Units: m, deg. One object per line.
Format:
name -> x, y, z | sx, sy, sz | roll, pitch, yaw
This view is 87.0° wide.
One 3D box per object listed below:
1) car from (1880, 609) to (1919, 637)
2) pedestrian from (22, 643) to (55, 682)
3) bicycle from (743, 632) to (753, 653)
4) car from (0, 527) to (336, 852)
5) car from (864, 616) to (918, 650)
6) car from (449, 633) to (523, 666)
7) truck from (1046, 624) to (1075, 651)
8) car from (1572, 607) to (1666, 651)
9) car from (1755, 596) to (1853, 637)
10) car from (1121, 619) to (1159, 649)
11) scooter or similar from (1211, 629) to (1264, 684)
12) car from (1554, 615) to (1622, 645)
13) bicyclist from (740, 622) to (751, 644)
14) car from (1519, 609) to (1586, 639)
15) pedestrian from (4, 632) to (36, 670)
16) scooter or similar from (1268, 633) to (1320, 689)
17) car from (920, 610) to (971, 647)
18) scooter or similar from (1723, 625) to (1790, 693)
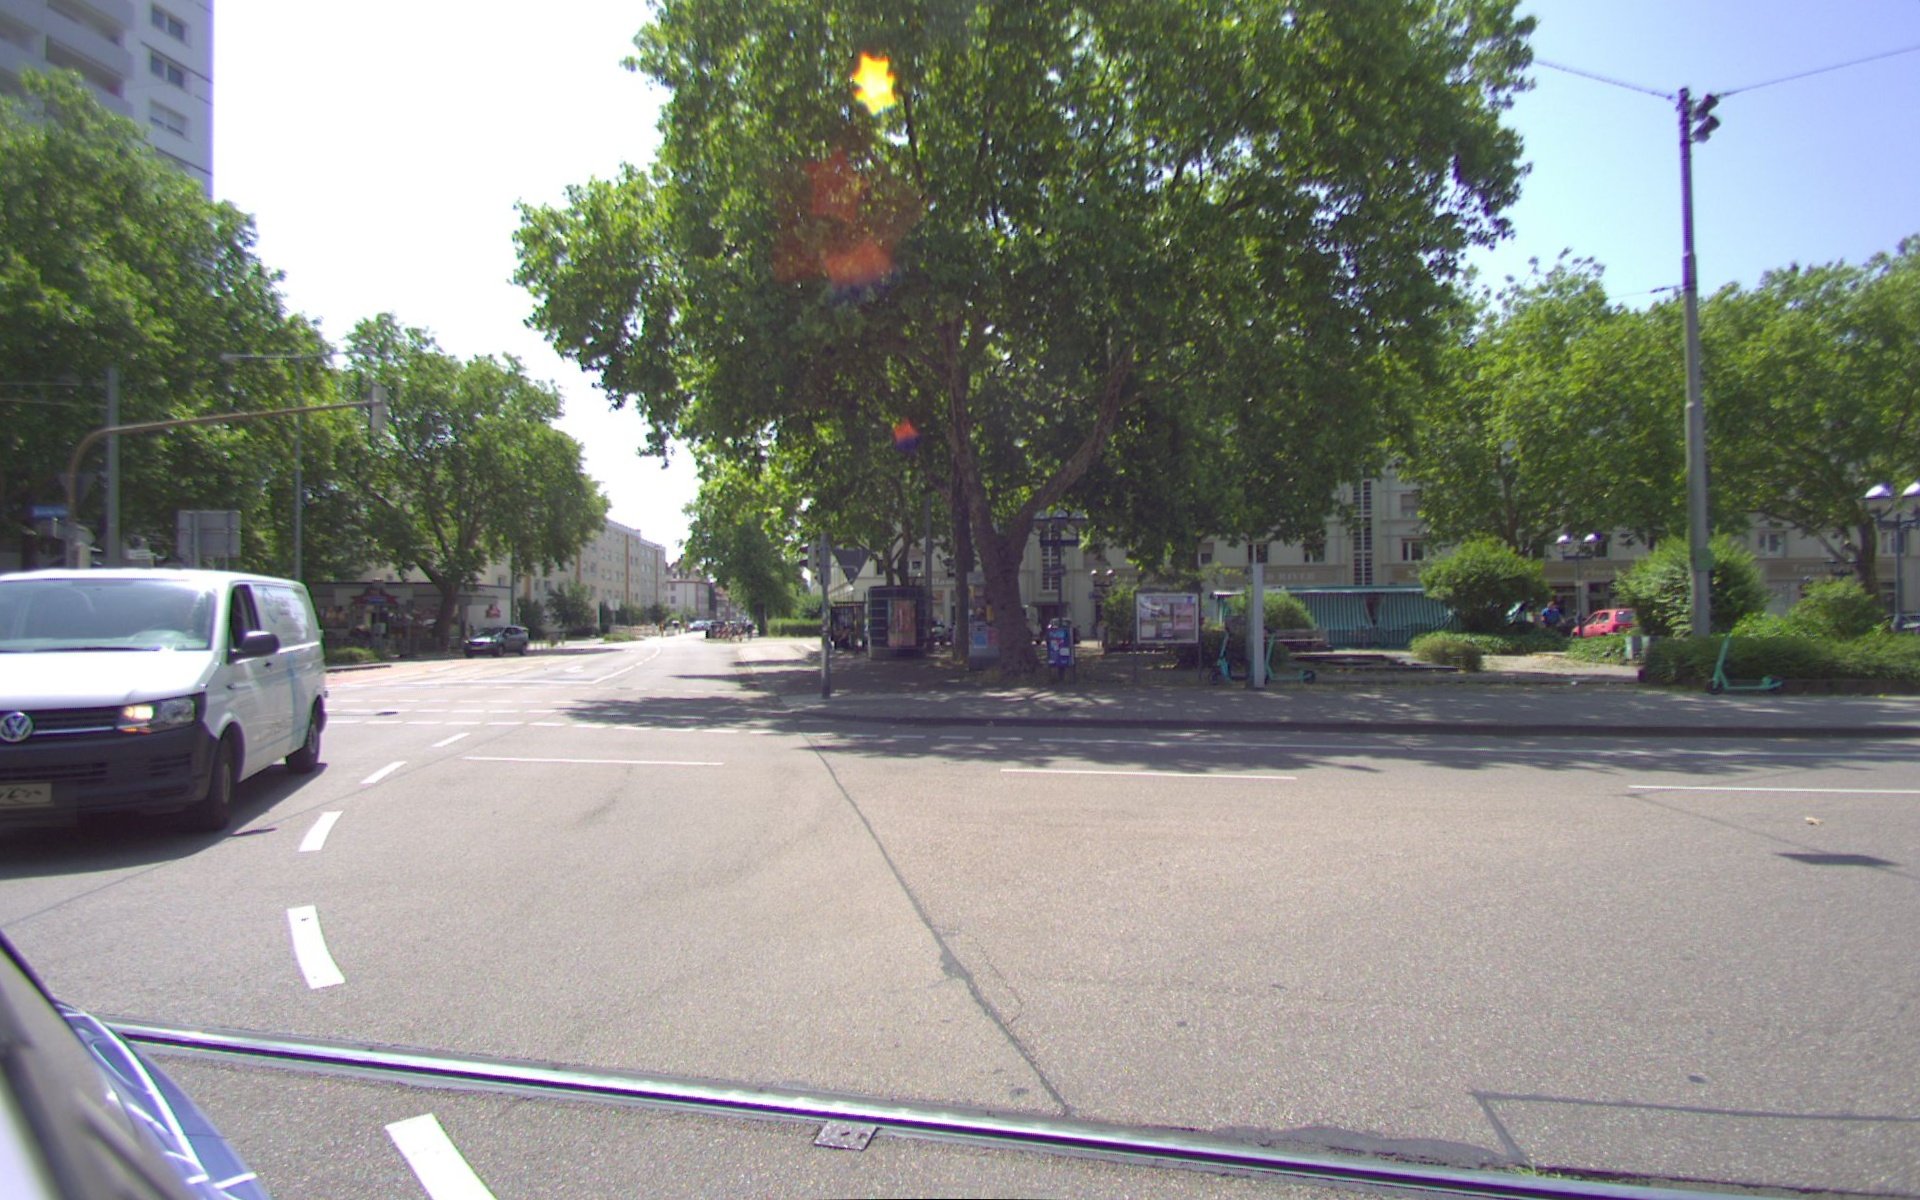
car -> 47.136, 1.124, 49.055 | 1.901, 1.264, 3.840 | -1, 0, 8
pedestrian -> -33.649, 2.287, 36.956 | 0.586, 1.375, 0.639 | -1, -1, 5
bicycle -> -16.689, 3.371, 79.702 | 0.588, 1.566, 1.845 | -1, 0, -5
car -> -6.734, 0.668, 8.425 | 1.821, 1.968, 4.959 | 0, -3, -22
car -> -4.005, 1.885, 59.083 | 1.981, 1.913, 3.981 | -1, -1, 15
car -> -23.941, 2.474, 51.284 | 1.918, 1.472, 4.059 | -1, 0, -2
truck -> 5.722, 2.123, 57.315 | 1.453, 1.388, 2.974 | -1, 0, 9
car -> 22.362, 0.959, 34.463 | 1.456, 1.394, 3.334 | -1, 0, 10
car -> 41.914, 0.784, 50.387 | 2.145, 1.964, 3.982 | -1, 0, 14
car -> 10.141, 1.887, 56.852 | 1.915, 1.613, 3.984 | -1, -1, 12
scooter or similar -> 5.845, 1.192, 21.341 | 1.030, 1.129, 0.255 | -1, -1, 24
car -> 32.559, 1.555, 52.566 | 1.604, 1.420, 3.914 | -1, 0, 10
bicyclist -> -16.775, 2.583, 79.150 | 0.694, 1.748, 0.788 | -1, 0, -4
car -> 23.574, 0.956, 40.372 | 1.342, 1.106, 2.732 | -1, 0, 8
pedestrian -> -34.420, 1.862, 37.071 | 0.586, 1.375, 0.639 | -1, -1, 5
scooter or similar -> 6.858, 1.240, 20.775 | 0.971, 1.129, 0.255 | -1, 0, 24
car -> -0.798, 1.610, 58.929 | 1.981, 2.029, 3.981 | -1, 0, 15
scooter or similar -> 13.658, 1.003, 17.367 | 0.855, 1.129, 0.255 | -1, 0, 24
